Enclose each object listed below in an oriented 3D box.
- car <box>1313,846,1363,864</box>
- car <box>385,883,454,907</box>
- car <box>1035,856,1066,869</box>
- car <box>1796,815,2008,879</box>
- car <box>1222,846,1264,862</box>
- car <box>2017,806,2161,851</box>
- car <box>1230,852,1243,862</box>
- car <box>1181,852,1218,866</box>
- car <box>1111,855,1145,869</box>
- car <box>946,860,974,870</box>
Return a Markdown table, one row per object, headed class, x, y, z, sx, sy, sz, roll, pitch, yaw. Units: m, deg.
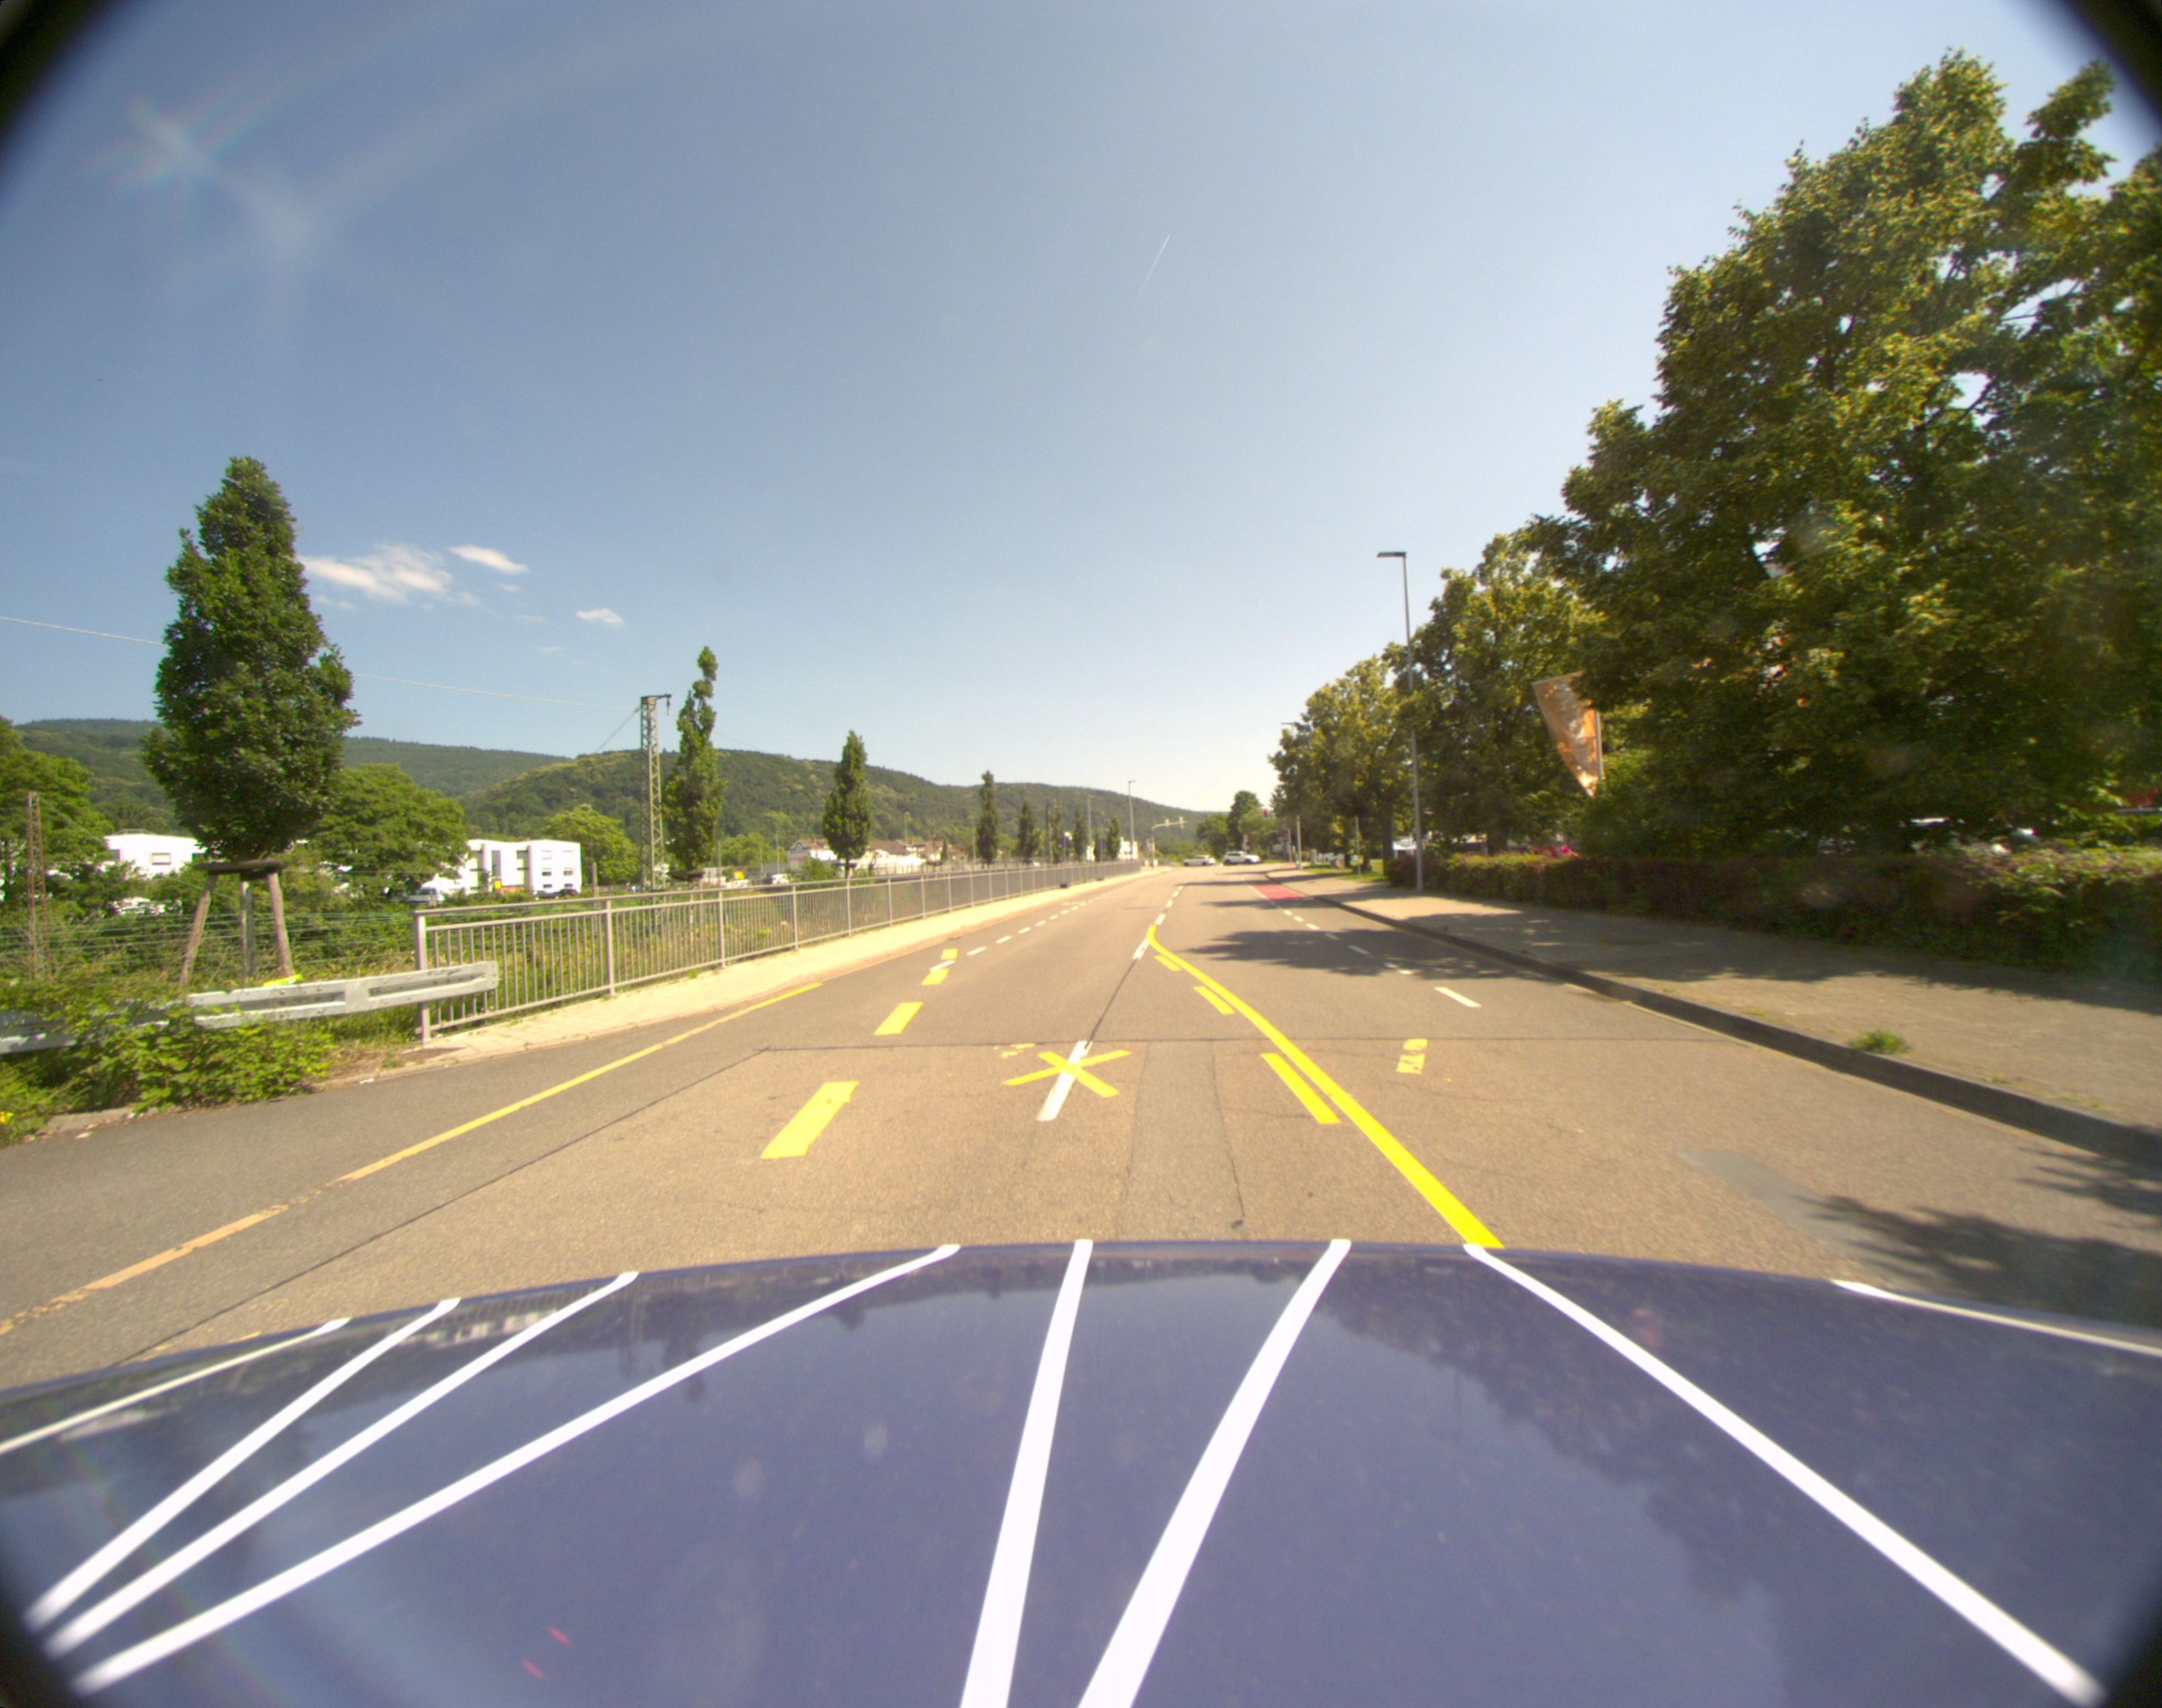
| class | x | y | z | sx | sy | sz | roll | pitch | yaw |
| --- | --- | --- | --- | --- | --- | --- | --- | --- | --- |
| car | 28.281 | 0.105 | 83.592 | 4.755 | 1.643 | 1.834 | -3 | 3 | 40 |
| car | -77.375 | 4.800 | 88.960 | 2.131 | 2.089 | 5.525 | -8 | 0 | 19 |
| car | -4.607 | 1.277 | 115.198 | 4.359 | 1.617 | 1.834 | -3 | 3 | 37 |
| car | 26.022 | -0.168 | 24.310 | 1.760 | 1.788 | 4.223 | -4 | 0 | -15 |
| car | 19.549 | 0.047 | 91.656 | 4.569 | 1.643 | 1.834 | -3 | 3 | 39 |
| car | 41.170 | -1.013 | 30.649 | 3.989 | 1.584 | 1.931 | -3 | 0 | 41 |
| car | 24.696 | 0.494 | 120.615 | 1.609 | 1.526 | 3.685 | -3 | 0 | 7 |
| car | 15.665 | 0.658 | 100.392 | 4.359 | 1.617 | 1.834 | -3 | 3 | 36 |
| car | 6.644 | 1.093 | 107.065 | 4.359 | 1.617 | 1.834 | -3 | 3 | 36 |
| car | -20.049 | 1.837 | 125.869 | 4.359 | 1.483 | 1.834 | -3 | 3 | 37 |
